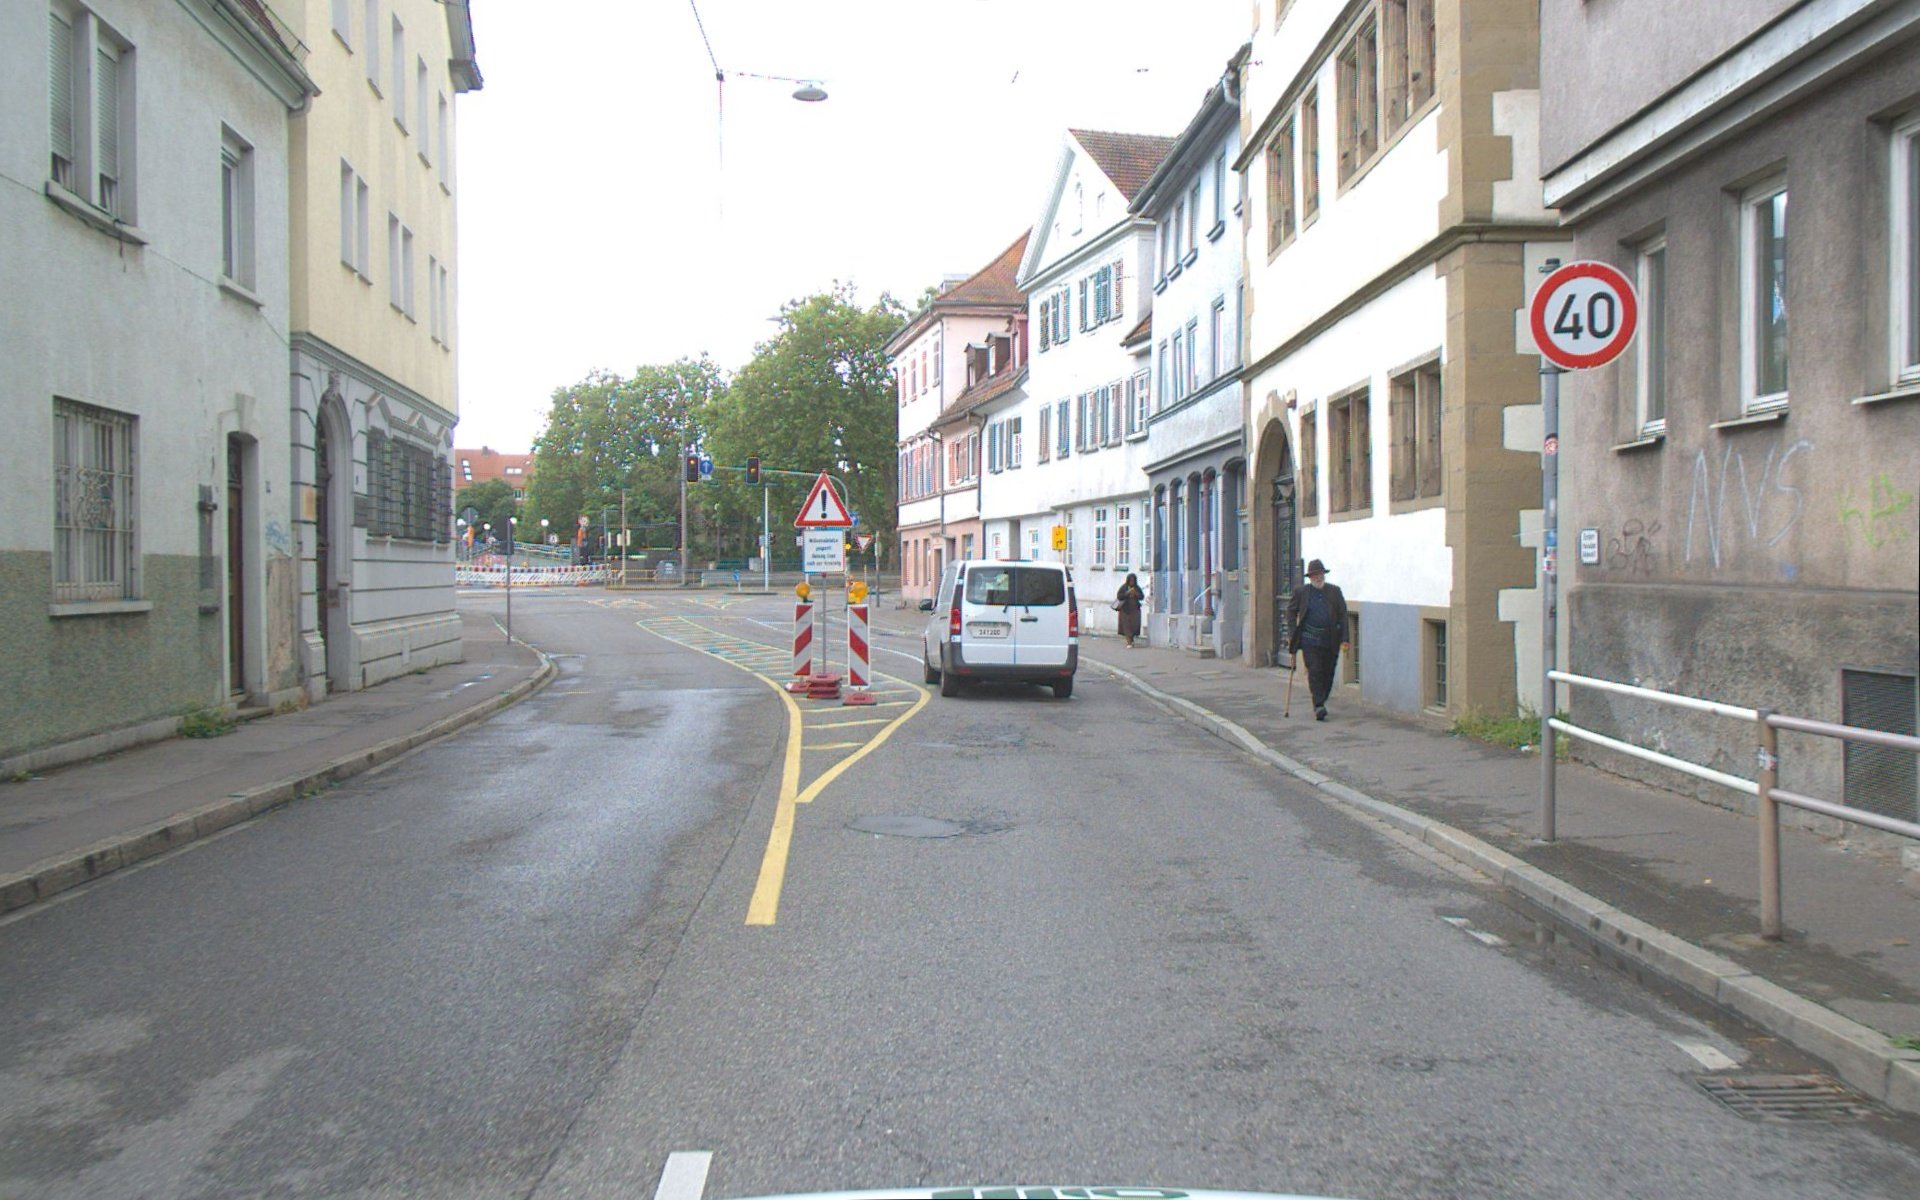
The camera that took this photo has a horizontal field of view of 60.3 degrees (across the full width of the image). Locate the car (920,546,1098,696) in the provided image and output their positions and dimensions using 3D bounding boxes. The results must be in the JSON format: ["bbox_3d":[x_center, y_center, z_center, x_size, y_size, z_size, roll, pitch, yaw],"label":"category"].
[{"bbox_3d":[0.609,0.297,24.251,1.956,1.957,4.242,1,0,-7],"label":"car"}]

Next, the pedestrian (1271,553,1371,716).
[{"bbox_3d":[3.919,0.362,18.013,0.815,1.684,0.944,-3,0,1],"label":"pedestrian"}]

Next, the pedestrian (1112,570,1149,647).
[{"bbox_3d":[3.839,0.184,37.214,0.739,1.696,0.809,1,0,0],"label":"pedestrian"}]
